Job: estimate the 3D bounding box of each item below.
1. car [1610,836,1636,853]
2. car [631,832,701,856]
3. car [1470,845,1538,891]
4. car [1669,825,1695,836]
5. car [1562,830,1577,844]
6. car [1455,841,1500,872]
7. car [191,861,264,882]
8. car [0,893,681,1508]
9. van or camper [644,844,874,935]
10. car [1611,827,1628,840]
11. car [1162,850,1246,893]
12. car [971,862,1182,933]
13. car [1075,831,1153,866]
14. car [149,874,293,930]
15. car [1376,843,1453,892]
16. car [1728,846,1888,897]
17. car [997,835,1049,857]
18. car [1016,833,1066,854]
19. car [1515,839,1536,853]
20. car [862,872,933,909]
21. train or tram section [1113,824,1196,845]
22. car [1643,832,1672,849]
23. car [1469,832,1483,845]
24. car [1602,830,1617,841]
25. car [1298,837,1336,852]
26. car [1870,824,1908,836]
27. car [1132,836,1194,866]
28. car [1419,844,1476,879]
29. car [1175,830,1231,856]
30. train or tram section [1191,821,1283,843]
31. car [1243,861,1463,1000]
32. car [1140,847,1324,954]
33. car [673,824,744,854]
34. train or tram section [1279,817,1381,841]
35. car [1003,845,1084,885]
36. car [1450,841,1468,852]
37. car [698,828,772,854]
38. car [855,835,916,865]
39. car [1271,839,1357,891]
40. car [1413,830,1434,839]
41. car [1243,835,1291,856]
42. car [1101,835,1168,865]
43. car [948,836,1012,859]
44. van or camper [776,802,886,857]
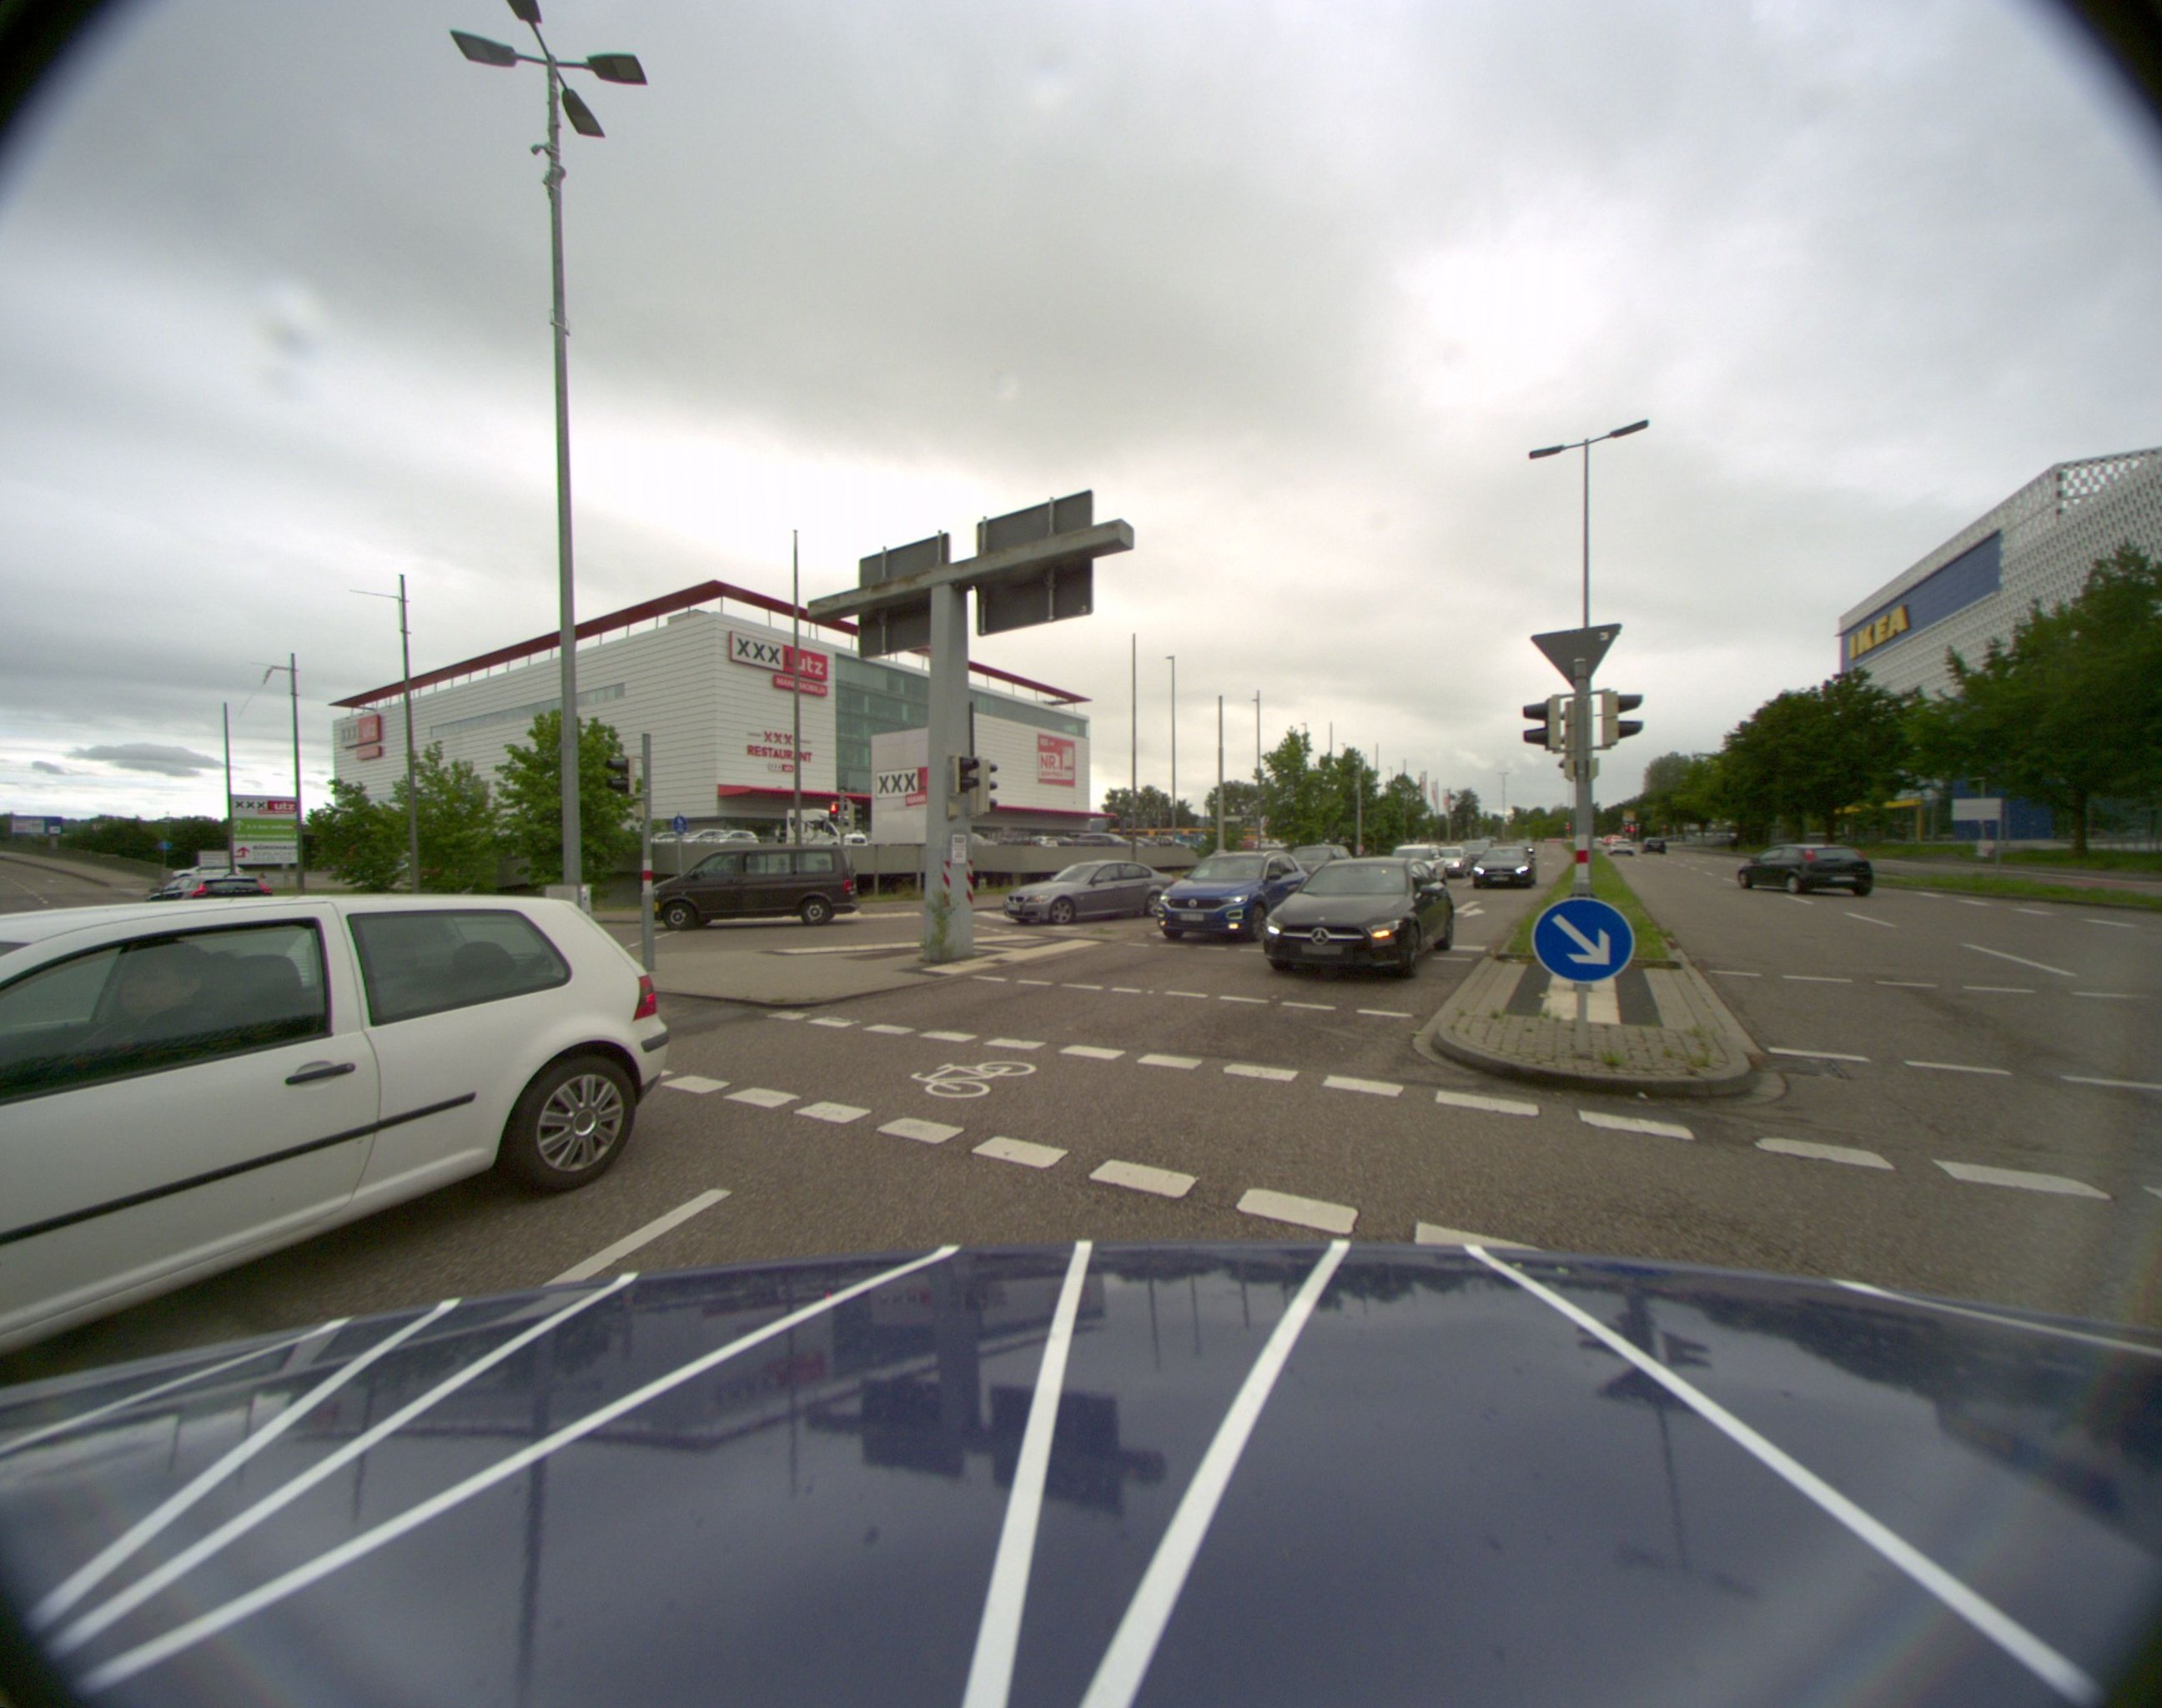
[{"bbox_3d":[48.758,-0.895,68.388,1.782,1.444,3.941,1,2,35],"label":"car"},{"bbox_3d":[-31.381,-0.769,57.576,1.772,1.666,4.267,-2,1,34],"label":"car"},{"bbox_3d":[15.092,0.462,27.003,1.764,1.370,4.266,-2,1,34],"label":"car"},{"bbox_3d":[123.523,-4.766,156.235,3.989,2.002,2.003,-2,1,31],"label":"car"},{"bbox_3d":[79.987,-2.818,124.469,1.994,2.207,4.007,0,1,31],"label":"car"},{"bbox_3d":[22.456,0.133,42.960,1.798,1.565,4.226,-2,1,34],"label":"car"},{"bbox_3d":[-76.801,1.556,68.400,1.718,1.601,4.206,-2,0,38],"label":"car"},{"bbox_3d":[-3.687,1.022,2.477,1.835,1.469,4.009,-2,1,18],"label":"car"},{"bbox_3d":[-7.720,0.804,18.808,4.946,2.002,2.161,-1,0,-15],"label":"van or camper"},{"bbox_3d":[83.787,-3.238,118.236,1.843,1.875,3.932,-2,1,32],"label":"car"},{"bbox_3d":[4.660,0.627,28.381,1.690,1.364,3.933,-2,1,32],"label":"car"},{"bbox_3d":[0.002,0.934,18.034,4.887,1.402,1.813,-1,-1,-38],"label":"car"},{"bbox_3d":[2.120,-0.352,48.771,4.520,2.002,2.003,-2,1,31],"label":"car"},{"bbox_3d":[-25.374,1.424,22.410,4.170,1.440,1.909,-4,-1,29],"label":"car"},{"bbox_3d":[12.567,0.459,28.472,1.795,1.615,4.382,-2,1,34],"label":"car"},{"bbox_3d":[21.573,0.469,22.783,1.724,1.363,4.004,1,1,14],"label":"car"},{"bbox_3d":[-5.016,-0.719,65.995,3.989,1.729,2.003,-2,1,31],"label":"car"},{"bbox_3d":[-3.624,-0.965,68.272,3.989,1.729,2.003,-2,1,31],"label":"car"},{"bbox_3d":[49.576,-0.912,84.700,1.798,1.407,4.226,-2,1,34],"label":"car"},{"bbox_3d":[-11.319,2.208,47.030,1.995,2.002,4.007,-2,1,30],"label":"car"},{"bbox_3d":[19.796,-5.282,207.416,23.224,4.811,3.639,-1,2,30],"label":"train or tram section"},{"bbox_3d":[59.714,-1.448,78.783,1.843,1.646,4.369,2,3,31],"label":"car"},{"bbox_3d":[68.273,-2.716,131.252,1.994,2.230,4.007,0,1,31],"label":"car"},{"bbox_3d":[88.485,-3.055,127.251,1.843,1.709,3.932,-2,1,32],"label":"car"},{"bbox_3d":[28.355,-1.140,91.423,3.989,1.556,1.800,-2,1,34],"label":"car"},{"bbox_3d":[139.755,-4.127,131.404,3.990,1.805,2.003,-2,1,26],"label":"car"},{"bbox_3d":[6.048,-0.219,56.128,3.989,2.002,2.003,-2,1,31],"label":"car"},{"bbox_3d":[17.157,0.337,35.498,1.798,1.407,4.226,-2,1,34],"label":"car"},{"bbox_3d":[9.916,-0.892,61.931,3.989,2.002,2.003,-2,1,31],"label":"car"},{"bbox_3d":[39.885,-5.638,195.807,23.224,4.811,3.639,-1,2,30],"label":"train or tram section"},{"bbox_3d":[3.939,0.875,10.485,1.855,1.426,4.205,-2,0,34],"label":"car"},{"bbox_3d":[3.042,0.758,14.529,1.843,1.612,4.340,-2,1,34],"label":"car"},{"bbox_3d":[-26.641,-1.105,54.426,1.995,2.002,4.007,-2,1,35],"label":"car"},{"bbox_3d":[60.081,-5.963,184.016,23.224,4.811,3.639,-1,2,30],"label":"train or tram section"},{"bbox_3d":[-2.086,0.614,41.983,3.989,2.002,2.003,-2,1,32],"label":"car"},{"bbox_3d":[50.817,-1.019,102.132,1.799,1.407,4.225,-2,1,22],"label":"car"},{"bbox_3d":[-23.753,-0.941,52.322,1.772,1.666,4.267,-2,1,34],"label":"car"},{"bbox_3d":[-13.729,-0.253,53.222,3.858,1.936,1.873,-2,1,30],"label":"car"},{"bbox_3d":[8.332,0.355,26.962,1.795,1.615,4.382,-2,1,32],"label":"car"},{"bbox_3d":[84.081,-4.837,186.698,4.660,2.002,2.003,-2,1,23],"label":"car"},{"bbox_3d":[18.995,-0.862,77.748,4.315,2.002,2.003,-2,1,31],"label":"car"},{"bbox_3d":[3.593,-0.284,51.384,3.989,1.838,2.003,-2,1,31],"label":"car"},{"bbox_3d":[-6.995,-0.430,52.675,3.984,1.429,1.873,-2,1,30],"label":"car"},{"bbox_3d":[-16.200,-1.518,49.042,7.217,3.117,2.720,-2,1,34],"label":"van or camper"}]
